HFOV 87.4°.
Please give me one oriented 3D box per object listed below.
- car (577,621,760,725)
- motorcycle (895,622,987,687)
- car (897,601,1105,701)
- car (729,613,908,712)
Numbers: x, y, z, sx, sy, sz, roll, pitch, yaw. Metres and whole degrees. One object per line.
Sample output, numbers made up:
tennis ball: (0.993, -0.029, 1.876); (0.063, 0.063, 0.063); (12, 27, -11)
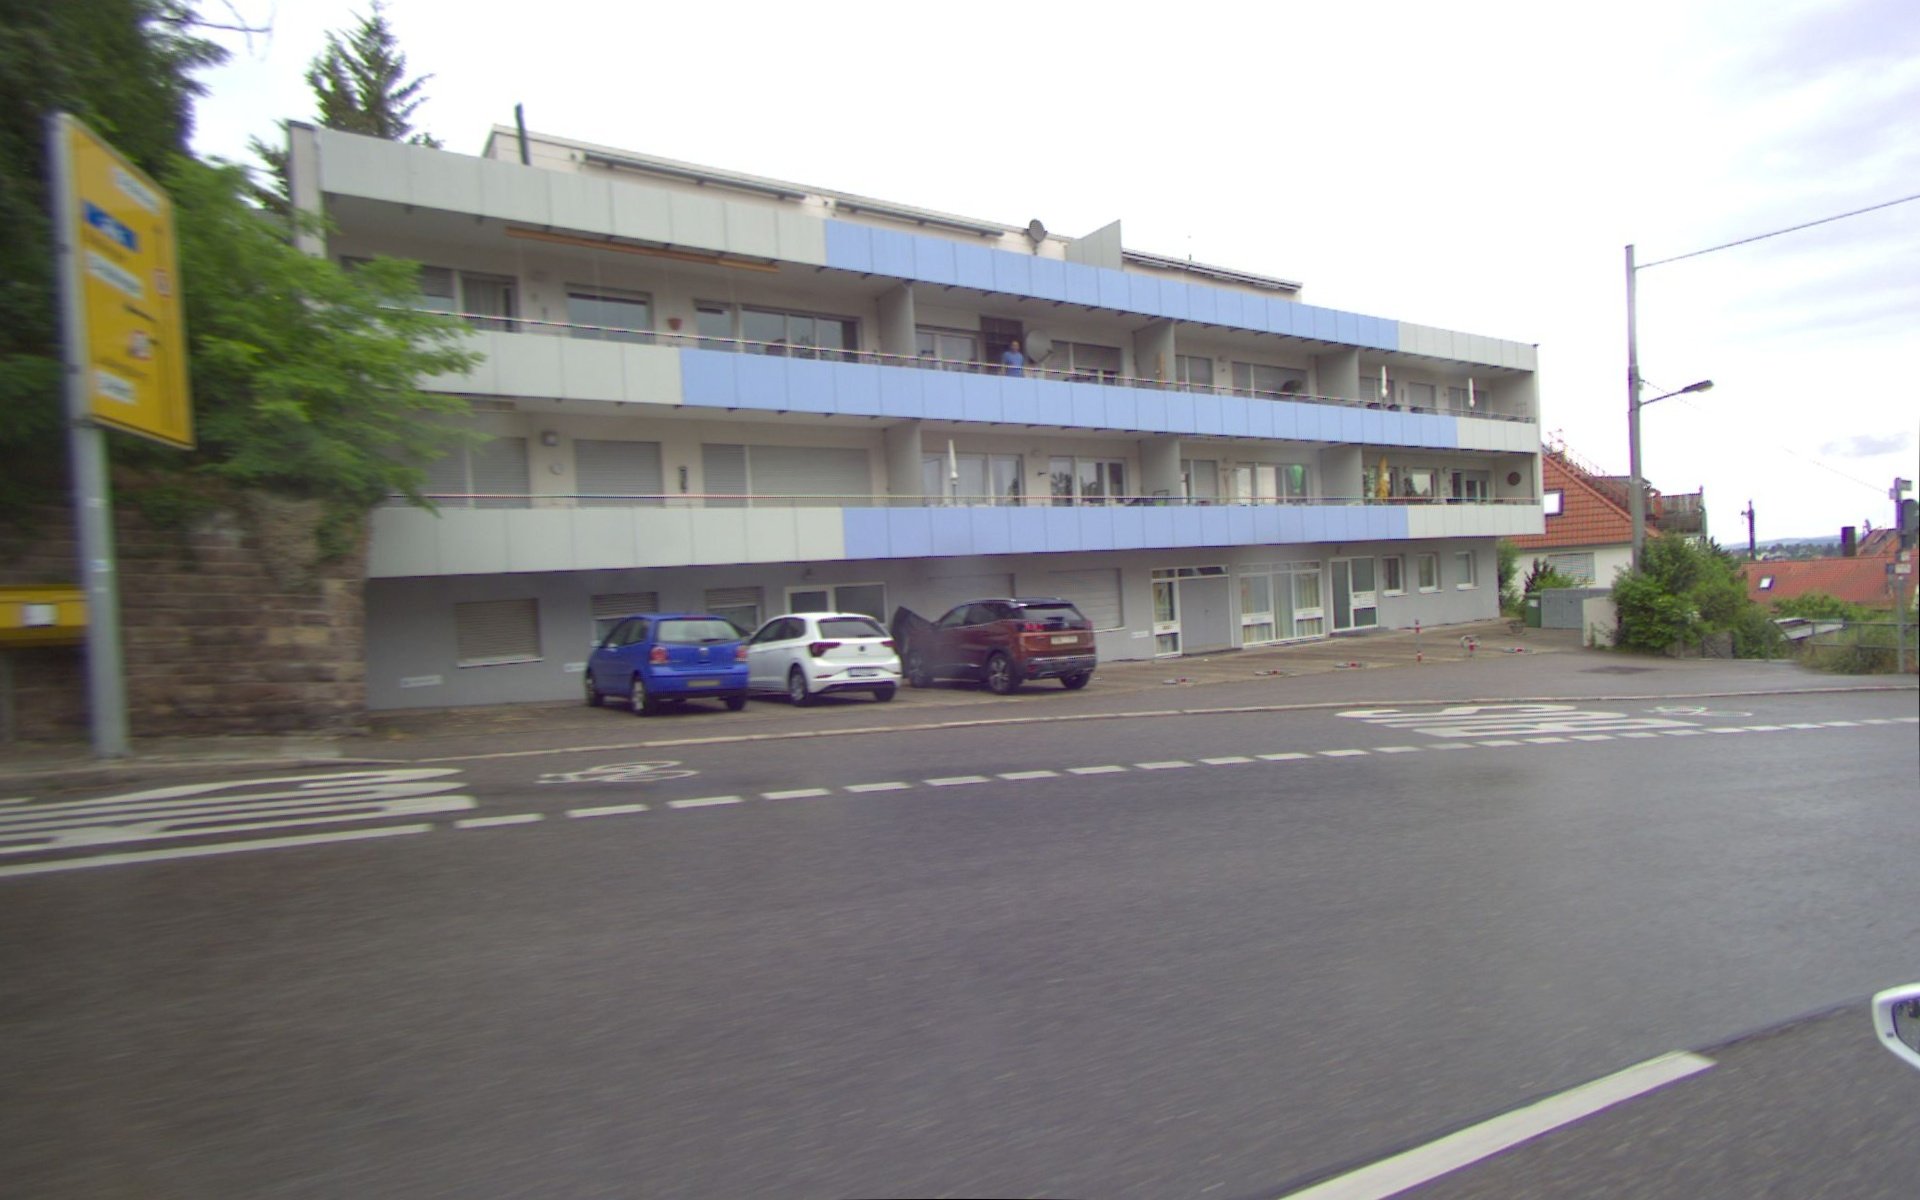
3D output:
car: (-4.595, 1.047, 15.544); (1.622, 1.408, 3.405); (1, -2, -37)
motorcycle: (-0.381, 1.140, 21.608); (0.565, 1.327, 2.324); (1, 0, 40)
car: (0.629, 0.865, 18.059); (1.699, 1.570, 3.897); (-1, -1, -35)
car: (-2.454, 1.007, 16.757); (1.690, 1.464, 3.411); (1, -3, -33)
